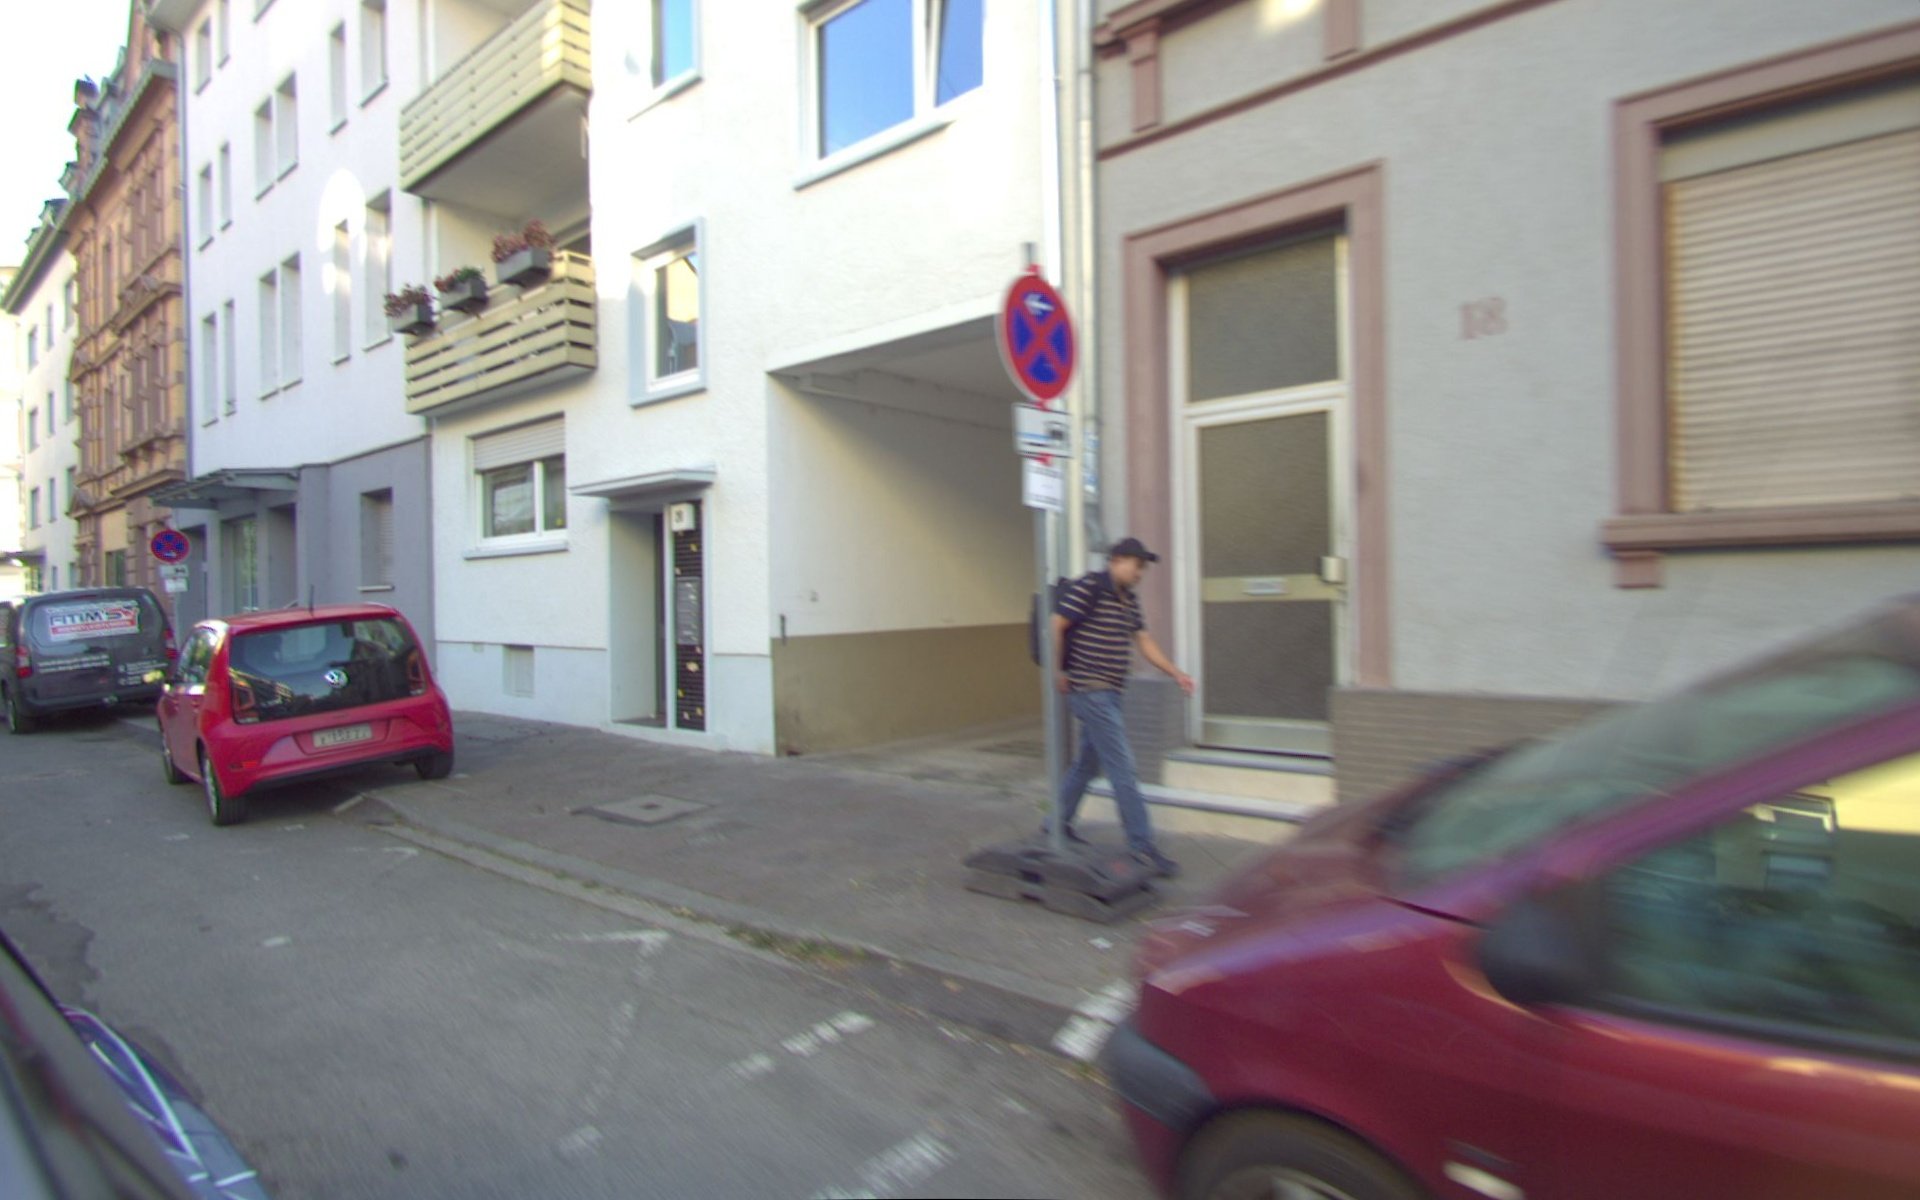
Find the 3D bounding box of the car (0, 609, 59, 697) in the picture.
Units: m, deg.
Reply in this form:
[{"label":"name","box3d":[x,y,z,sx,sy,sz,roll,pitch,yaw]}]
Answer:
[{"label":"car","box3d":[-19.412,1.027,20.233,4.014,1.611,1.721,-1,0,43]}]

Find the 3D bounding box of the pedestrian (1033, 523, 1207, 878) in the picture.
[{"label":"pedestrian","box3d":[0.801,0.462,5.090,0.665,1.650,0.490,-1,1,41]}]

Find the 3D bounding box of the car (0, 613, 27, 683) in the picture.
[{"label":"car","box3d":[-23.035,1.112,23.718,2.791,1.600,1.382,-1,-1,40]}]

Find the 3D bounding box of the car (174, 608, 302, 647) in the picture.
[{"label":"car","box3d":[-31.542,1.171,44.281,1.966,1.464,4.207,-1,0,40]}]

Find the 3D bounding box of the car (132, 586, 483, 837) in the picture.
[{"label":"car","box3d":[-5.564,0.742,8.449,1.650,1.496,3.608,-8,5,-44]}]

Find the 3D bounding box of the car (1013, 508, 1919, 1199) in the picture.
[{"label":"car","box3d":[1.917,0.571,1.621,3.283,1.458,1.641,-1,3,40]}]

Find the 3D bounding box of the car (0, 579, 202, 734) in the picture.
[{"label":"car","box3d":[-12.774,0.712,14.530,4.580,1.872,1.974,-1,0,39]}]
